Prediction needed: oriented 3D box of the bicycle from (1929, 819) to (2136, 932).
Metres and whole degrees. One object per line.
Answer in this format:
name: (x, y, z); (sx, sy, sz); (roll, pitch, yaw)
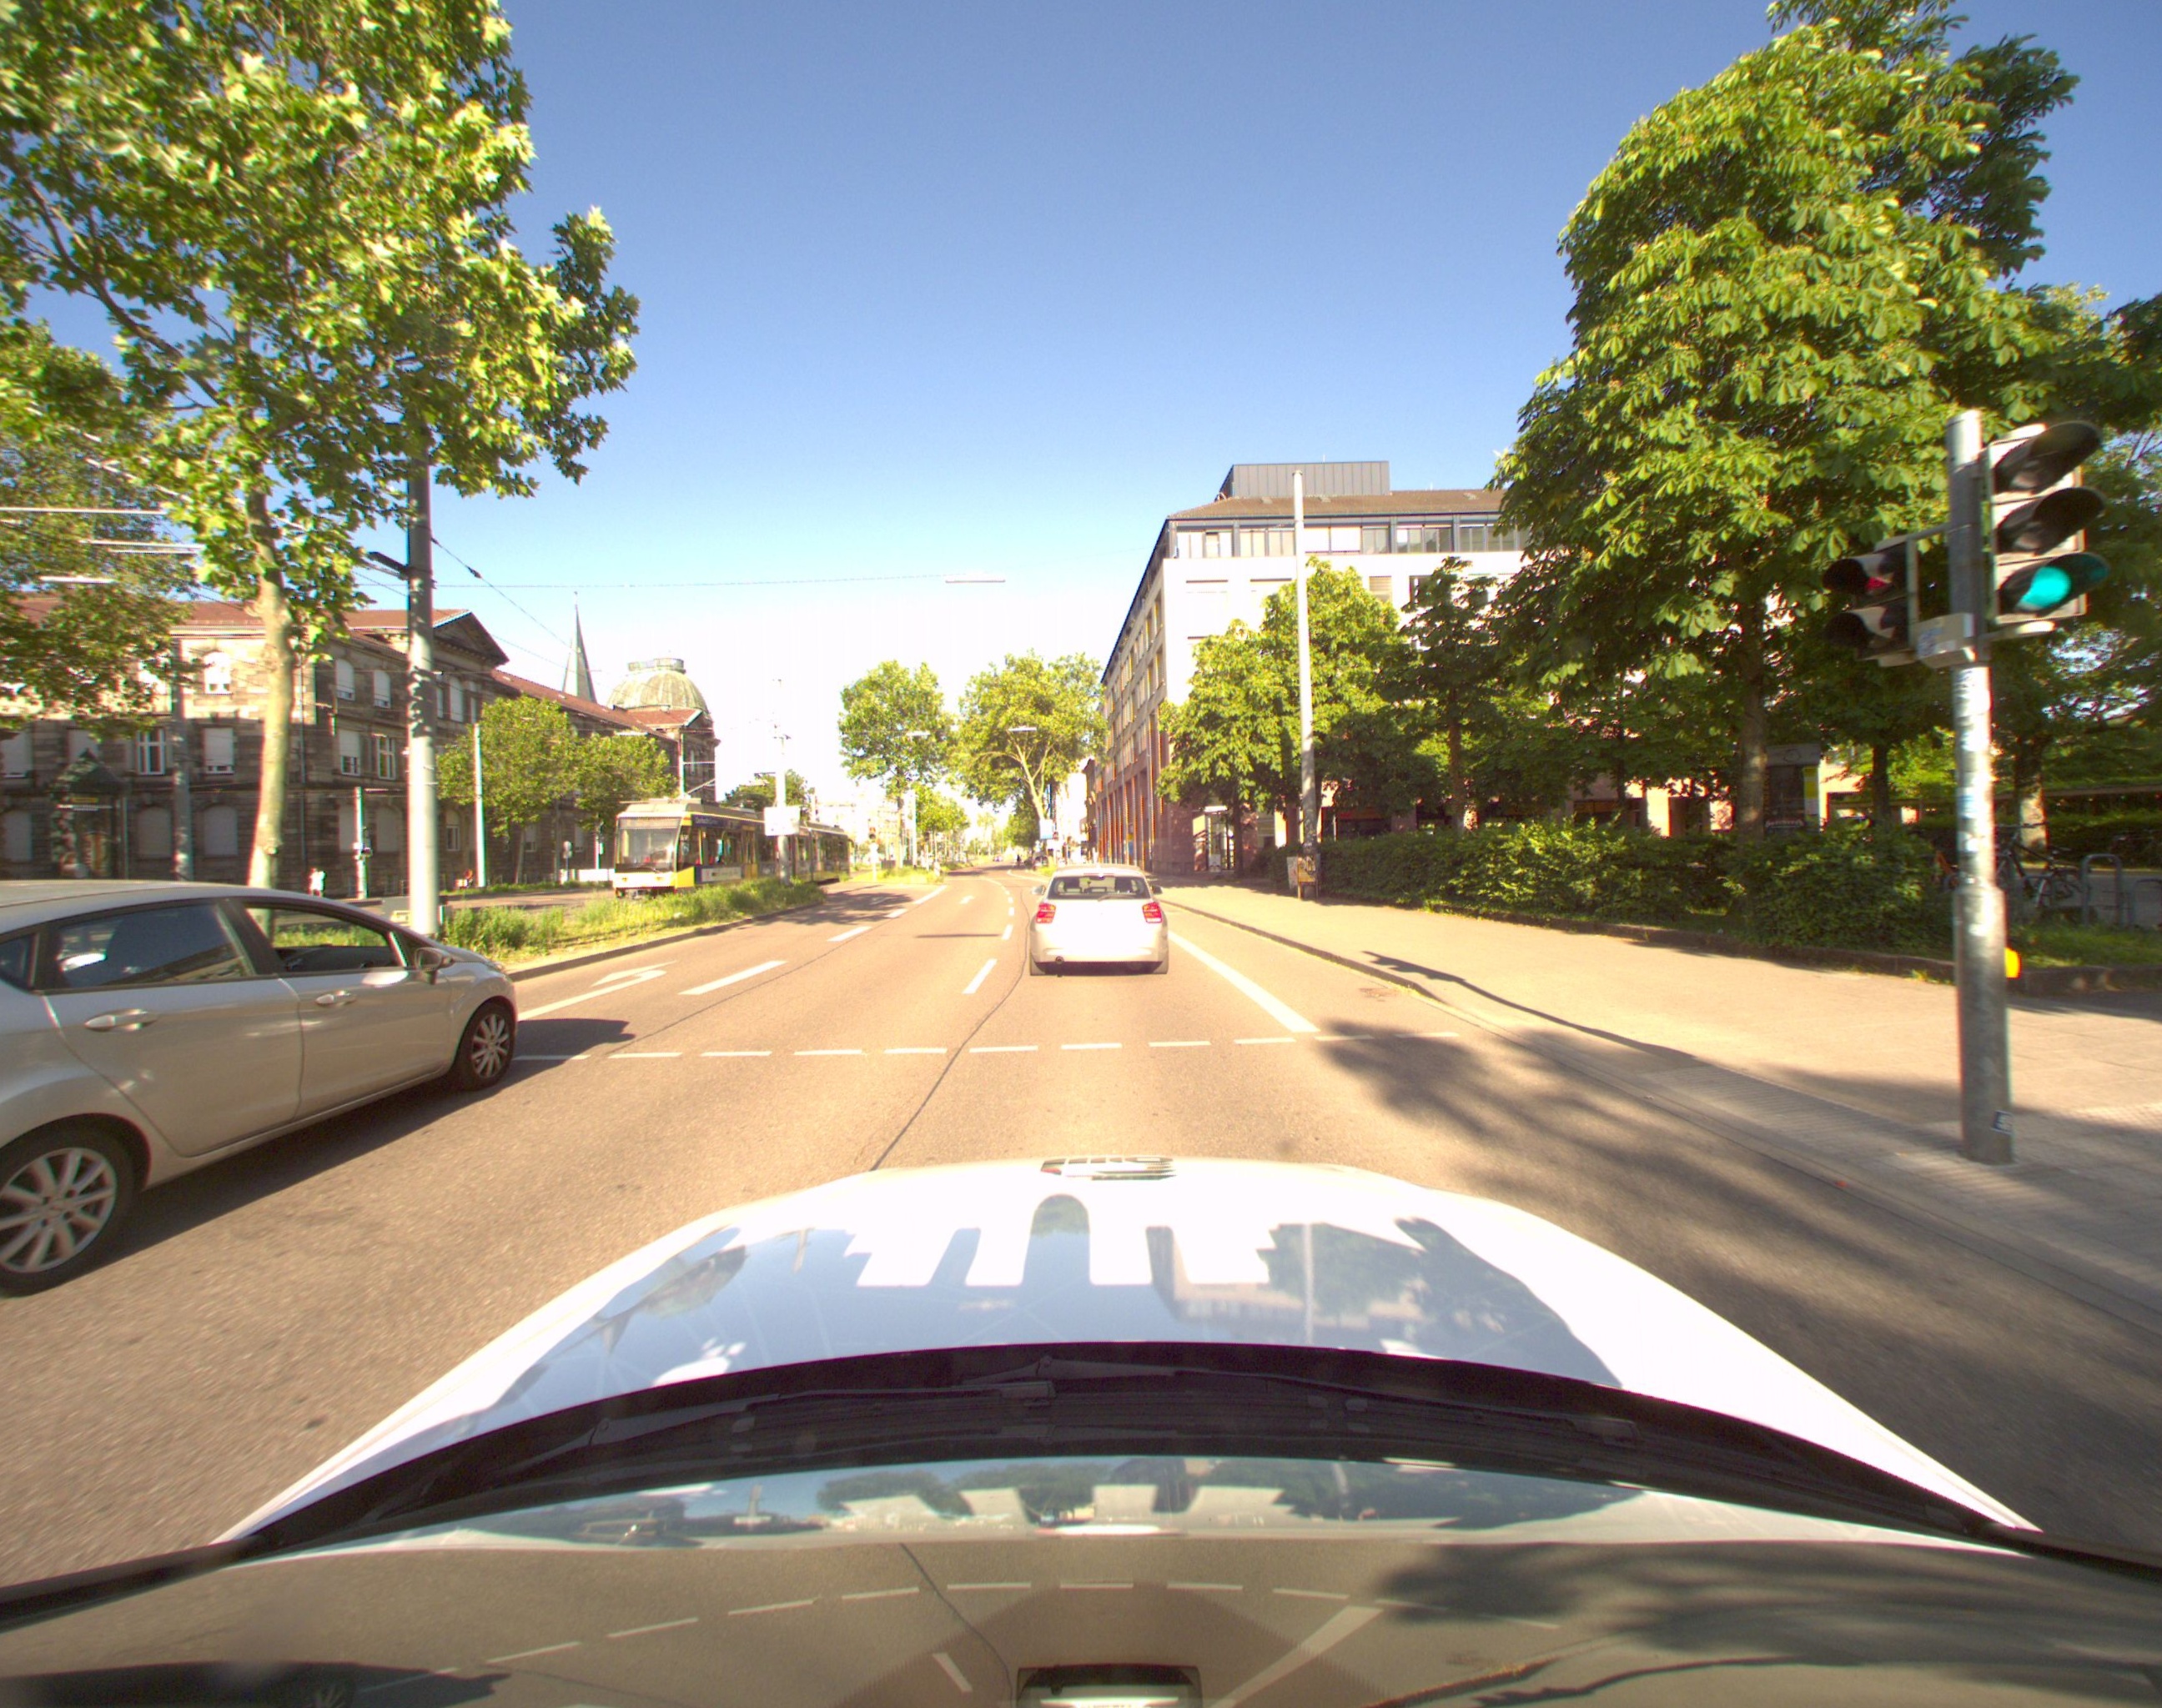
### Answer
bicycle: (12.256, 0.266, 10.522); (1.990, 1.314, 0.573); (-3, 0, -1)

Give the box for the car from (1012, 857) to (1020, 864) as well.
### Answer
car: (-20.108, 1.926, 252.549); (1.987, 2.014, 4.000); (1, -1, 1)

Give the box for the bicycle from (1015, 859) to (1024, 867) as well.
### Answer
bicycle: (-8.135, 1.183, 107.950); (0.827, 1.041, 1.877); (-2, 0, 5)

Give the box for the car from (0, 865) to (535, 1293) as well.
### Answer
car: (-4.582, 0.773, 4.002); (1.659, 1.409, 3.623); (0, -1, -7)

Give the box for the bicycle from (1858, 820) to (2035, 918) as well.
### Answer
bicycle: (12.790, 0.212, 12.059); (1.990, 1.314, 0.573); (-3, 0, -1)

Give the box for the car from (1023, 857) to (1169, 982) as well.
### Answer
car: (0.292, 0.780, 11.543); (1.722, 1.390, 3.843); (0, 1, 3)

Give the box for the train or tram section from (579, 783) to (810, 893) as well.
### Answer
train or tram section: (-14.182, -0.331, 32.284); (2.910, 3.260, 15.861); (0, -1, -5)

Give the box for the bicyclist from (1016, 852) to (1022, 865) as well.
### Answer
bicyclist: (-8.189, 0.591, 107.882); (0.655, 1.657, 0.766); (-2, 0, 5)

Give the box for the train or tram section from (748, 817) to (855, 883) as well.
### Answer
train or tram section: (-15.601, -0.063, 46.700); (2.911, 3.260, 13.083); (0, -1, -6)

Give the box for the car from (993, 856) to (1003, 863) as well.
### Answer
car: (-21.236, 1.401, 209.349); (1.985, 1.486, 4.003); (-1, 0, 3)

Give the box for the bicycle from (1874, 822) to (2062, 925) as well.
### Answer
bicycle: (12.420, 0.262, 11.430); (1.990, 1.314, 0.573); (-3, 0, -1)
